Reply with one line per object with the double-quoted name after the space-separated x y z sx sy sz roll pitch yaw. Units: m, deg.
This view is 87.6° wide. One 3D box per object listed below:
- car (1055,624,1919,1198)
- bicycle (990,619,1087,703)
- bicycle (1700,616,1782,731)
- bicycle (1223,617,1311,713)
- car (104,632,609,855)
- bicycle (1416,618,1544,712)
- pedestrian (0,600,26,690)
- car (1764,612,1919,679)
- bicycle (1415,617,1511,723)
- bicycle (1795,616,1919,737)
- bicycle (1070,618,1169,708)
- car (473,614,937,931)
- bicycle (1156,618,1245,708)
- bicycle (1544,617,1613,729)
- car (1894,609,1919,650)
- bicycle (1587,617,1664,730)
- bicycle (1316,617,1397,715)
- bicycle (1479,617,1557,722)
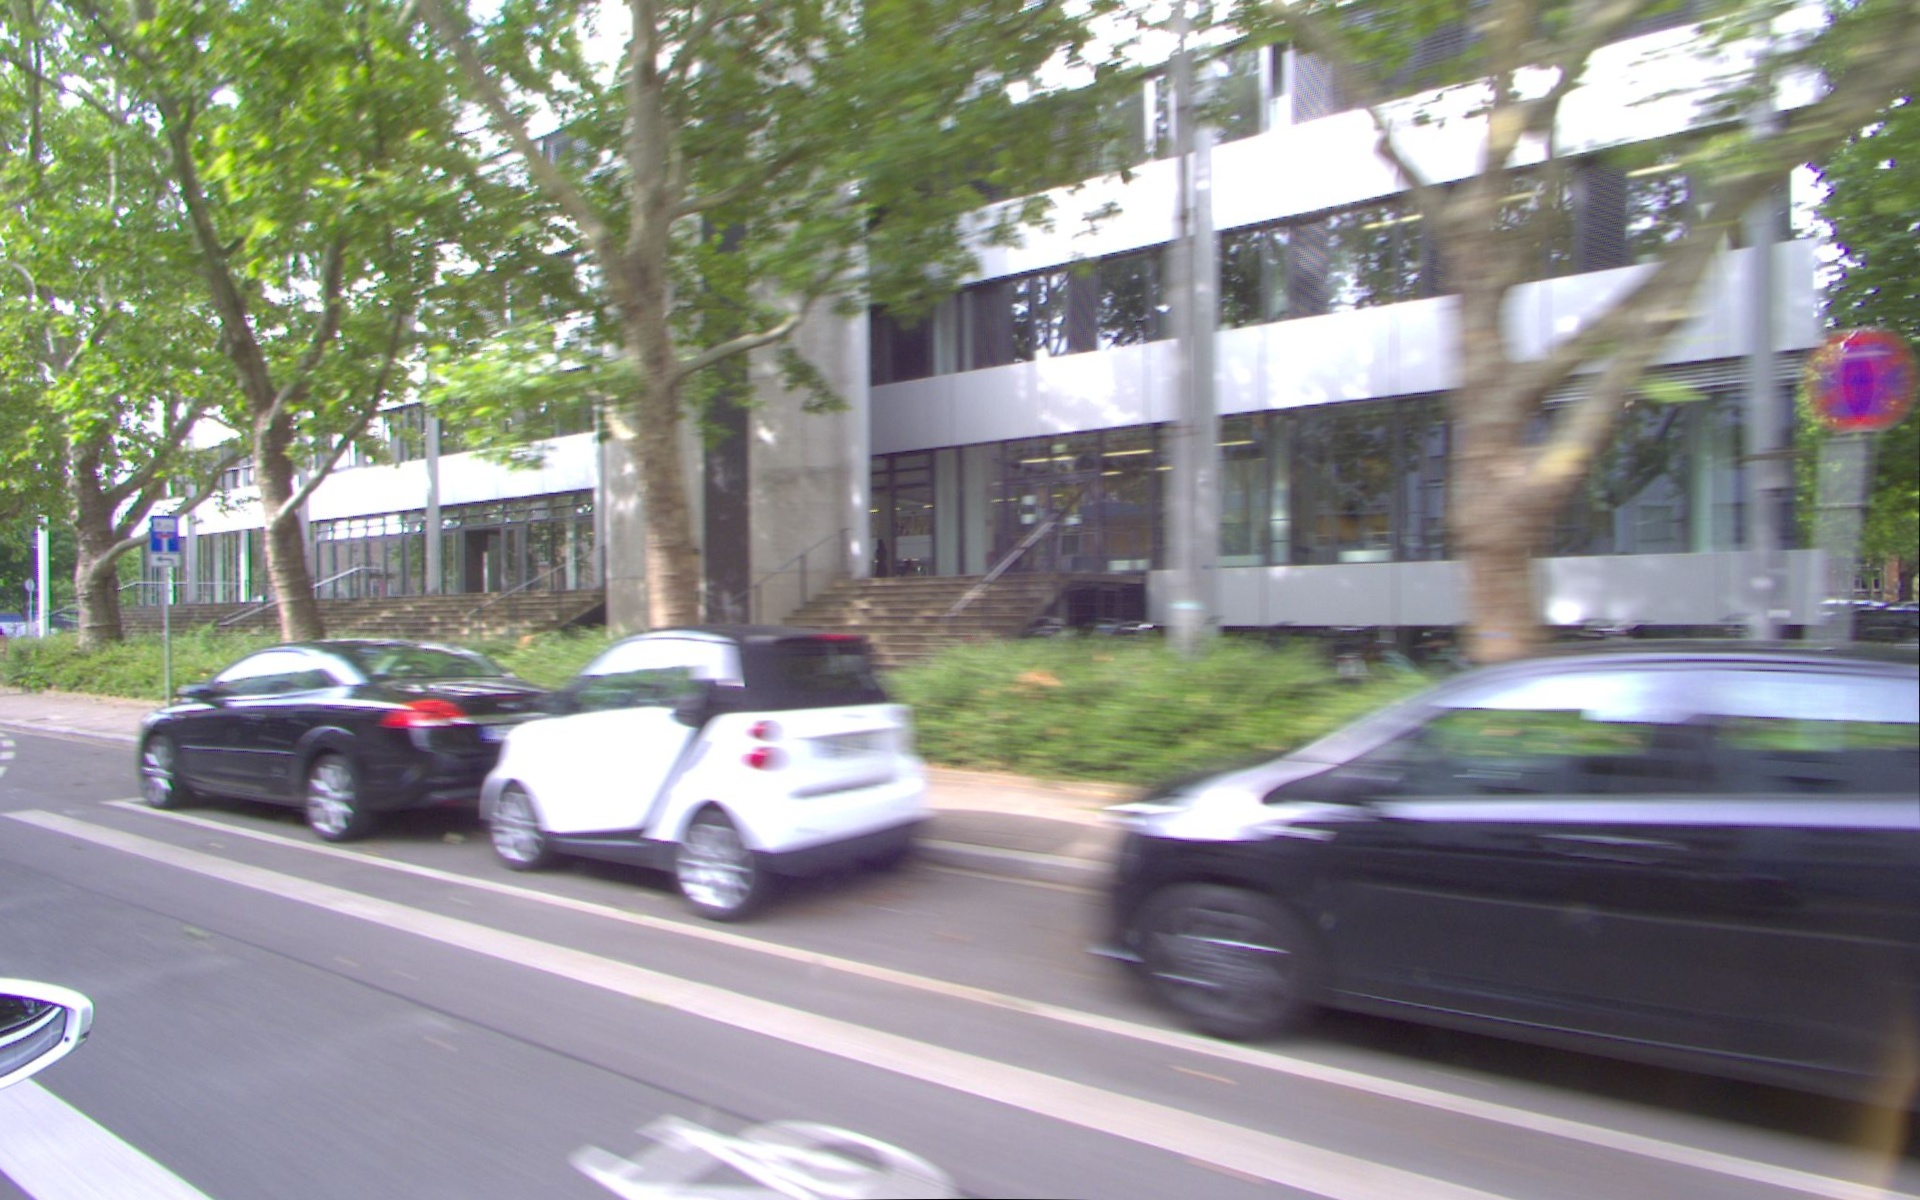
2.311 0.865 3.721 3.607 1.521 1.526 -1 -2 32 "car"
1.204 0.877 14.965 0.663 1.132 1.911 0 0 31 "bicycle"
8.453 0.760 10.874 0.461 1.132 1.443 0 1 28 "bicycle"
4.089 0.815 13.259 0.663 1.132 1.911 0 0 31 "bicycle"
-5.148 1.011 8.410 4.355 1.443 1.696 -1 -2 29 "car"
6.577 0.800 12.712 1.415 1.132 0.490 0 1 27 "bicycle"
-19.892 0.927 20.566 1.018 1.824 0.713 -1 1 31 "pedestrian"
33.835 1.705 38.073 4.718 2.438 2.222 -1 -2 29 "car"
5.873 0.779 11.779 0.611 1.132 1.698 0 0 13 "bicycle"
9.388 0.747 10.473 0.595 1.132 1.673 0 0 25 "bicycle"
2.307 0.851 14.245 0.663 1.132 2.075 0 0 31 "bicycle"
-1.627 0.899 6.314 2.564 1.563 1.532 -1 -2 35 "car"
3.415 0.844 14.091 0.663 1.132 1.911 0 0 31 "bicycle"
6.818 0.772 11.079 0.461 1.132 1.378 0 0 24 "bicycle"
59.166 1.781 59.626 4.718 2.438 2.222 -1 -2 29 "car"
7.308 0.769 11.043 0.461 1.132 1.539 0 0 24 "bicycle"
5.135 0.802 12.916 0.663 1.132 1.911 0 0 31 "bicycle"
6.507 0.780 11.725 0.502 1.132 1.380 0 0 17 "bicycle"
